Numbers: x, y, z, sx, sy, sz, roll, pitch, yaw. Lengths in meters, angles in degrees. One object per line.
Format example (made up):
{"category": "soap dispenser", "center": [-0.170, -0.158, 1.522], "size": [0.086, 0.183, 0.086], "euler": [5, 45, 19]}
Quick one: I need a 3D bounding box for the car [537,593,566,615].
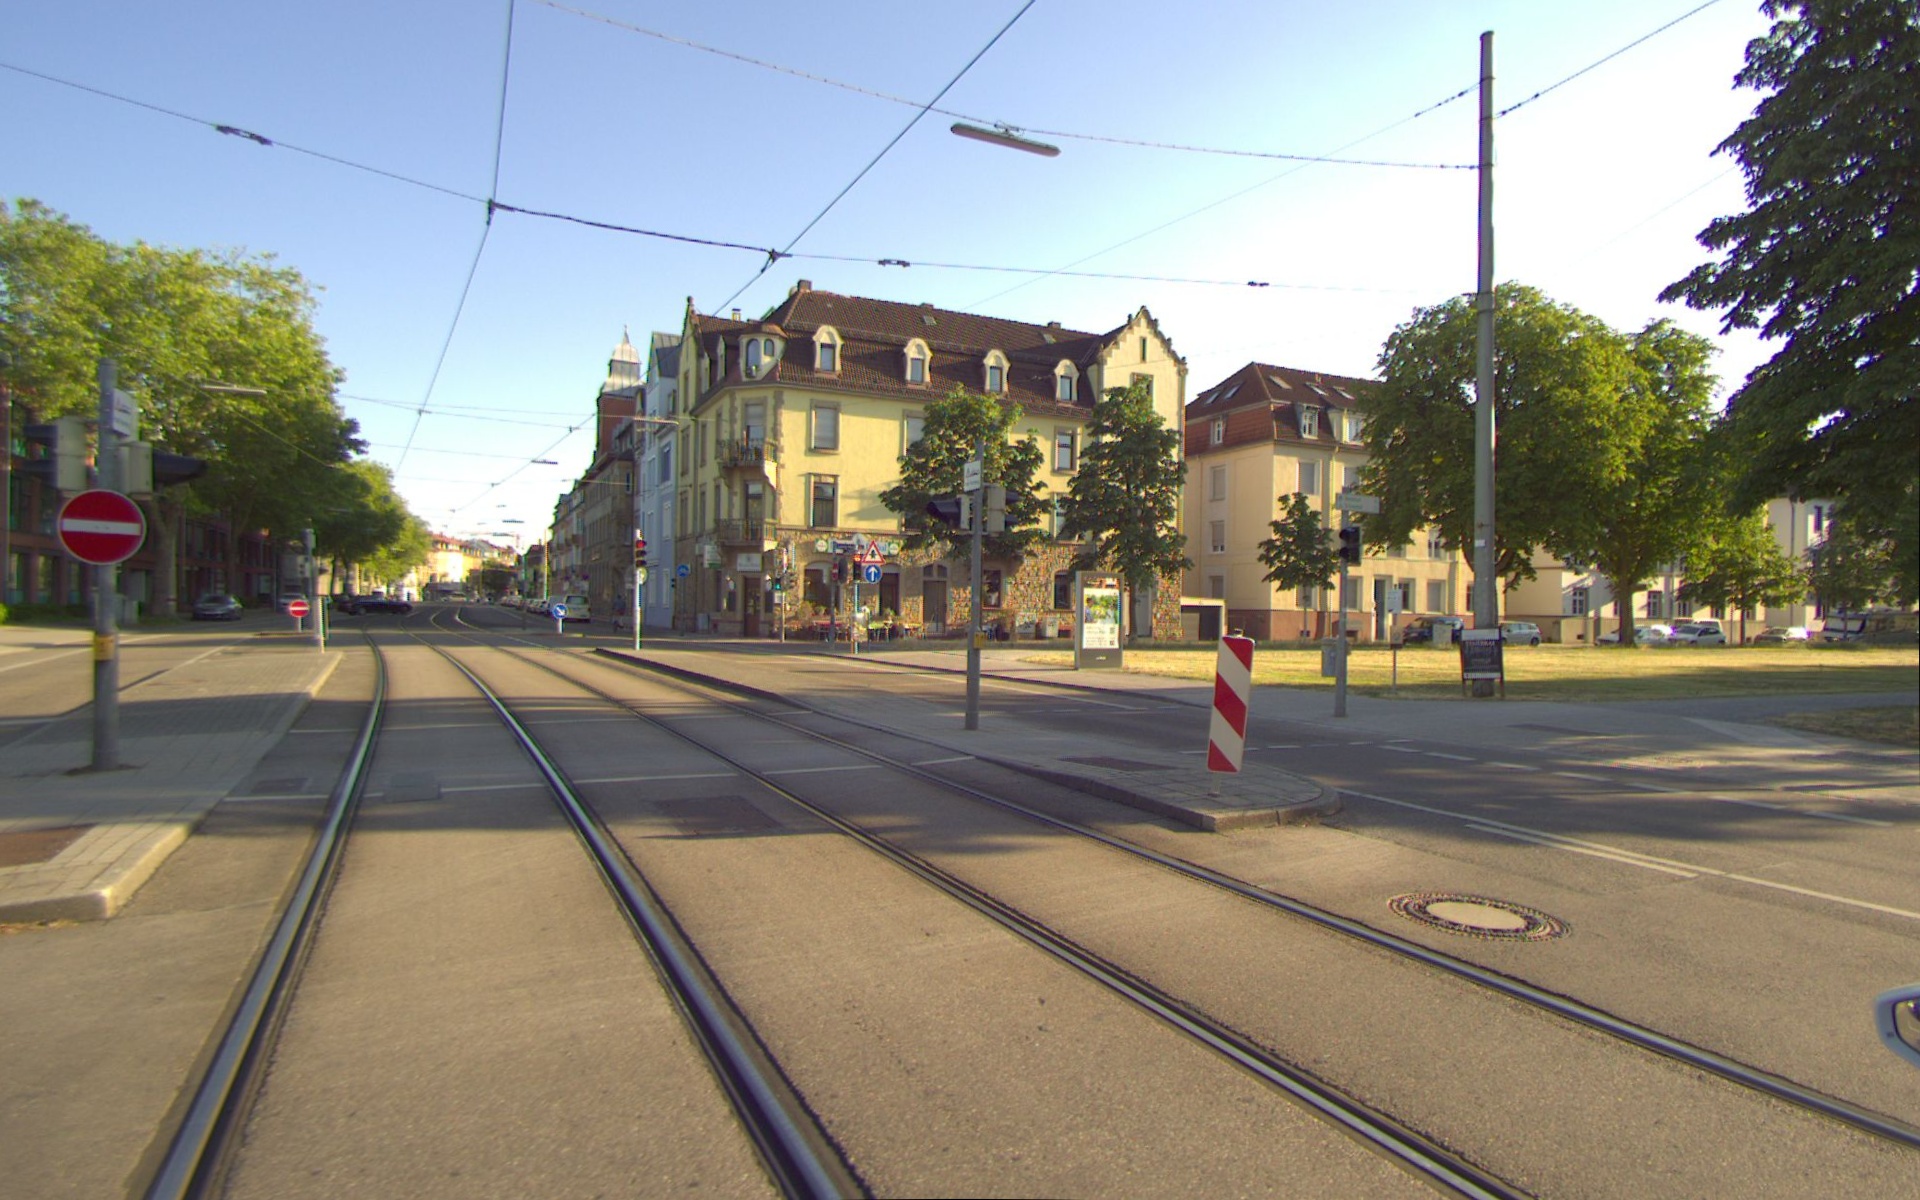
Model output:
{"category": "car", "center": [-35.644, 0.358, 87.637], "size": [1.975, 1.694, 3.752], "euler": [2, 2, -27]}

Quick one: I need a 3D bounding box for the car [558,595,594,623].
{"category": "car", "center": [-27.128, 0.608, 70.924], "size": [2.006, 1.760, 3.752], "euler": [2, 2, -27]}

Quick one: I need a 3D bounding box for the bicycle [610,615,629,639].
{"category": "bicycle", "center": [-17.331, 1.357, 51.145], "size": [0.861, 1.177, 3.070], "euler": [2, -1, -19]}

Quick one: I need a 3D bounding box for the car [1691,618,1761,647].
{"category": "car", "center": [54.082, 2.293, 70.884], "size": [4.813, 1.976, 1.987], "euler": [2, 0, -26]}

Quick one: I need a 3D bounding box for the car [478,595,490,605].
{"category": "car", "center": [-72.823, 0.029, 153.619], "size": [1.530, 1.388, 3.437], "euler": [2, 2, -27]}

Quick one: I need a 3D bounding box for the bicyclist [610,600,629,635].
{"category": "bicyclist", "center": [-17.357, 0.886, 51.261], "size": [0.861, 1.746, 1.144], "euler": [2, -1, -19]}

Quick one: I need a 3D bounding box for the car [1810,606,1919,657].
{"category": "car", "center": [60.863, 2.092, 67.562], "size": [7.744, 3.173, 2.385], "euler": [1, 2, -24]}

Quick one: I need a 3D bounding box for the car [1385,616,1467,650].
{"category": "car", "center": [27.289, 1.917, 58.817], "size": [4.250, 1.759, 1.989], "euler": [2, 1, -23]}

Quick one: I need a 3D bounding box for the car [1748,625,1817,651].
{"category": "car", "center": [60.116, 2.759, 73.454], "size": [4.505, 1.681, 1.989], "euler": [2, 1, -23]}

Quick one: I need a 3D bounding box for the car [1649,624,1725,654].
{"category": "car", "center": [43.083, 2.284, 59.510], "size": [4.361, 1.575, 1.789], "euler": [1, 2, -26]}

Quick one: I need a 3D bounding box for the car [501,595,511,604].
{"category": "car", "center": [-79.912, -0.092, 176.852], "size": [1.530, 1.484, 3.279], "euler": [2, 2, -27]}

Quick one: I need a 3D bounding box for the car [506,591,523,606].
{"category": "car", "center": [-58.483, -0.187, 131.882], "size": [1.755, 1.694, 3.752], "euler": [2, 2, -27]}

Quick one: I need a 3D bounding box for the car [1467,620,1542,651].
{"category": "car", "center": [33.201, 2.192, 61.258], "size": [3.943, 1.681, 1.989], "euler": [2, 1, -23]}

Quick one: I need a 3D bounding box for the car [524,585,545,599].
{"category": "car", "center": [-57.854, -1.153, 136.449], "size": [1.906, 1.716, 3.962], "euler": [2, 1, -33]}

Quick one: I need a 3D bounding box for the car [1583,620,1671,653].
{"category": "car", "center": [38.005, 2.089, 57.220], "size": [4.505, 1.681, 1.989], "euler": [2, 1, -23]}

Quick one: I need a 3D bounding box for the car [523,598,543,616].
{"category": "car", "center": [-48.245, 0.761, 113.478], "size": [1.777, 1.855, 3.765], "euler": [2, 2, -27]}

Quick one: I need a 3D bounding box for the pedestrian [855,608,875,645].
{"category": "pedestrian", "center": [-4.333, 1.221, 45.700], "size": [0.674, 1.646, 0.613], "euler": [2, 2, -26]}

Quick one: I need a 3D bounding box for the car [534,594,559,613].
{"category": "car", "center": [-40.502, 0.341, 98.283], "size": [1.975, 1.694, 3.752], "euler": [2, 2, -27]}
